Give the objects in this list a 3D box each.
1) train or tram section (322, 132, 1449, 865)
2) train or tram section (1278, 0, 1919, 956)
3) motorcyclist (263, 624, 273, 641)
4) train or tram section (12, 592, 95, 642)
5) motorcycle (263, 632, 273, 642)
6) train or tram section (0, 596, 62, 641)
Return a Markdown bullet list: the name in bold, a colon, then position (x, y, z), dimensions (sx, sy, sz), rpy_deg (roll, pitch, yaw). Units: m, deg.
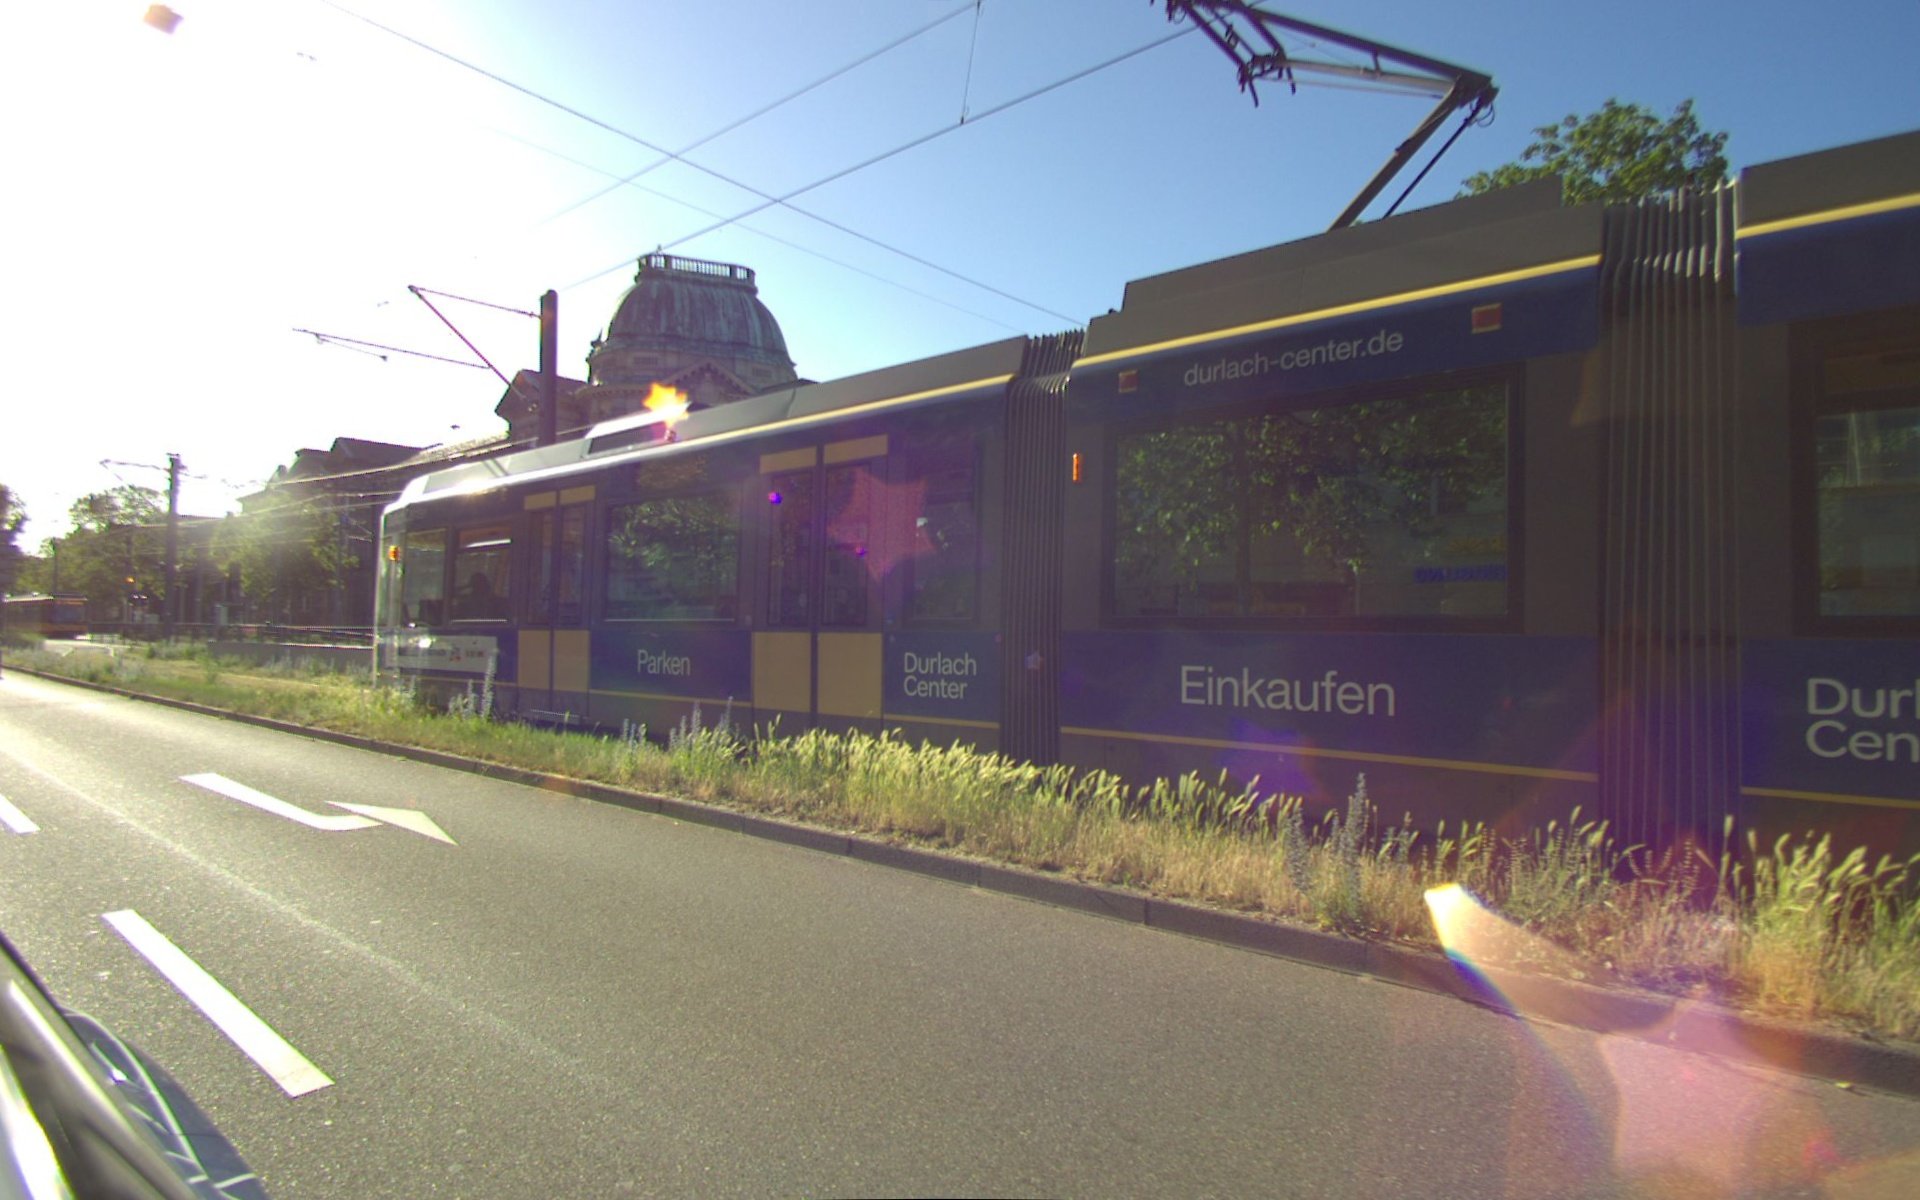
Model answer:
- **train or tram section**: position (-2.749, -0.455, 11.017), dimensions (14.261, 3.841, 2.899), rpy_deg (-1, 0, 40)
- **train or tram section**: position (4.111, -0.645, 5.209), dimensions (3.863, 3.926, 2.925), rpy_deg (-1, 0, 41)
- **motorcyclist**: position (-54.255, 2.544, 79.361), dimensions (0.691, 1.267, 0.508), rpy_deg (-1, 0, 45)
- **train or tram section**: position (-68.429, 1.292, 76.277), dimensions (11.274, 3.510, 2.932), rpy_deg (-1, -1, 39)
- **motorcycle**: position (-54.329, 2.883, 79.469), dimensions (1.522, 0.789, 0.364), rpy_deg (-1, 0, 43)
- **train or tram section**: position (-75.113, 1.473, 81.734), dimensions (6.052, 3.510, 2.927), rpy_deg (-1, -1, 39)
